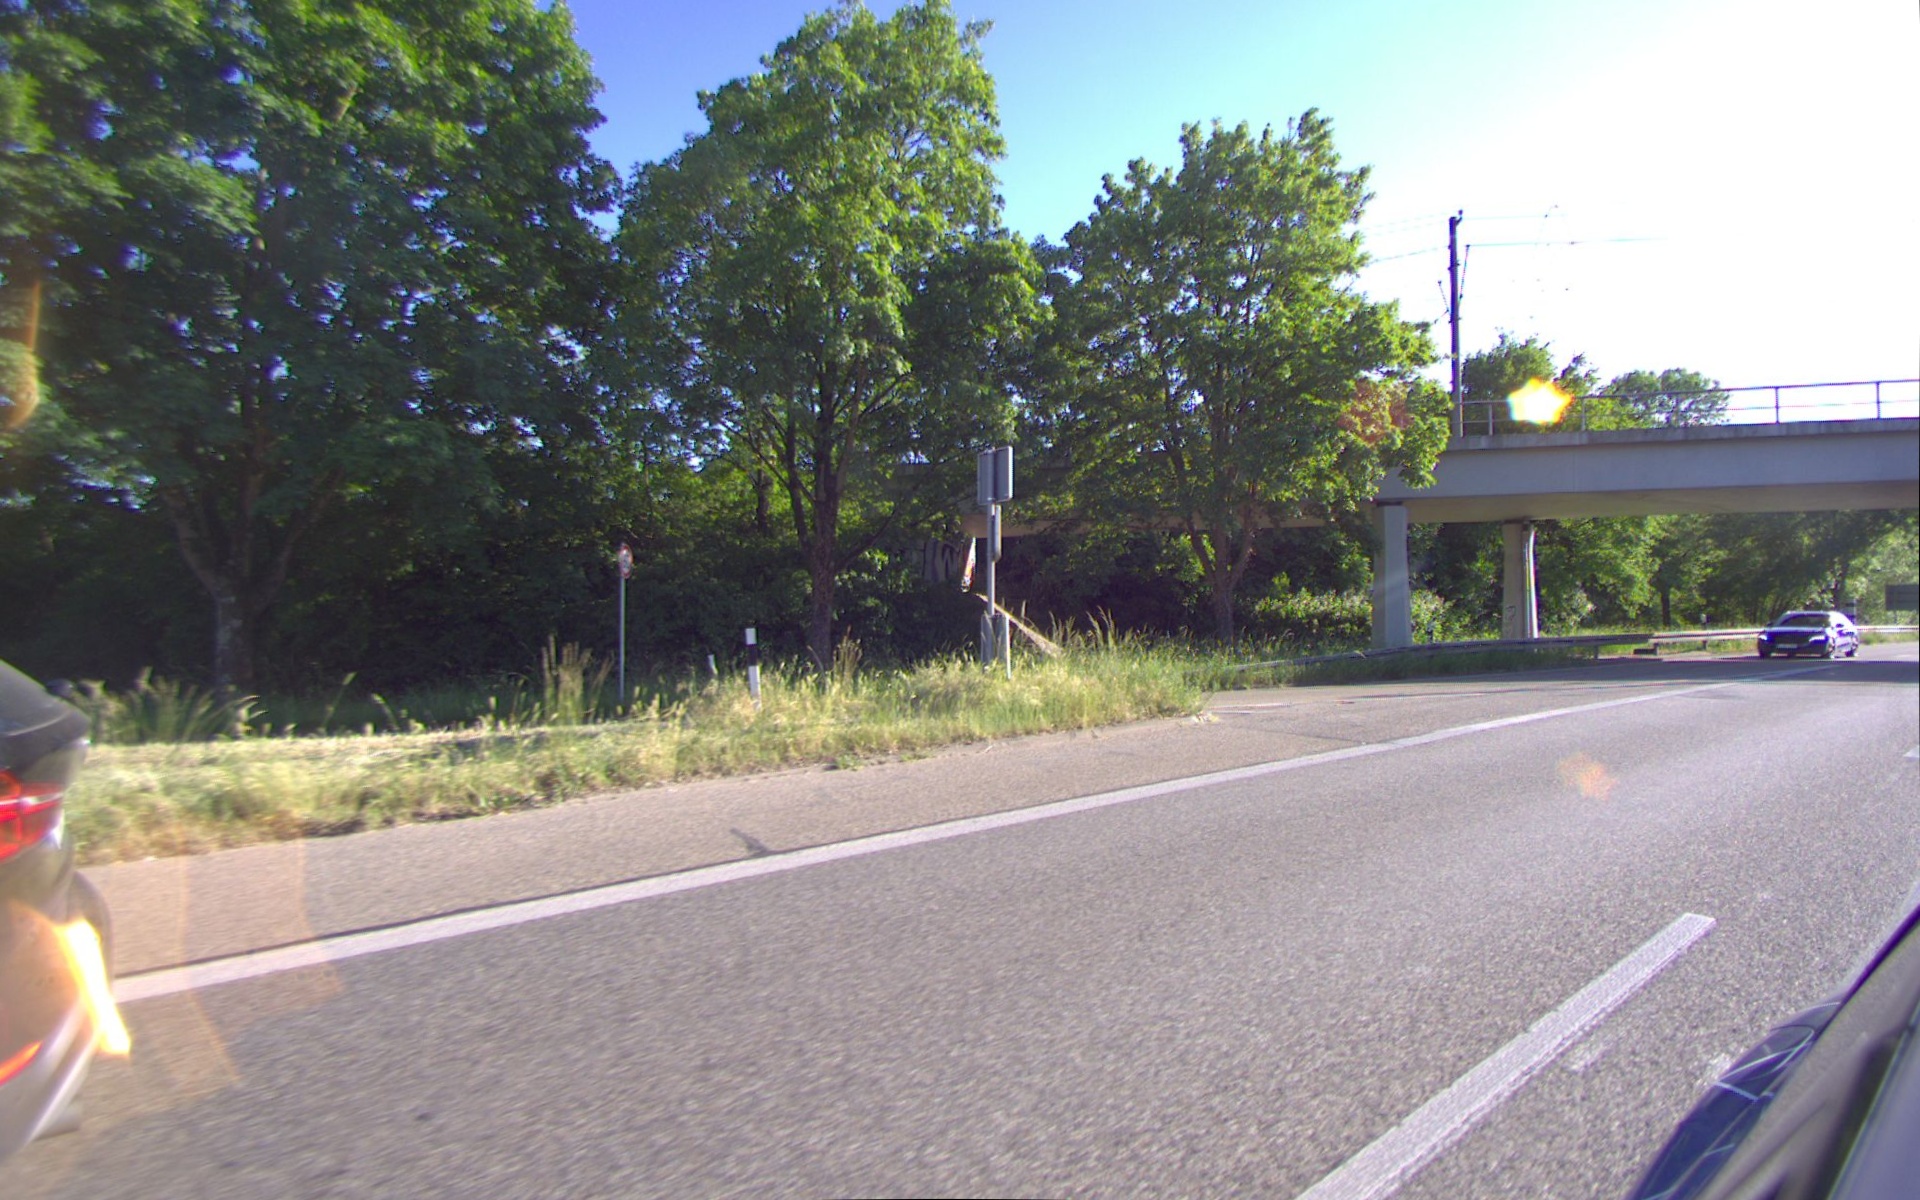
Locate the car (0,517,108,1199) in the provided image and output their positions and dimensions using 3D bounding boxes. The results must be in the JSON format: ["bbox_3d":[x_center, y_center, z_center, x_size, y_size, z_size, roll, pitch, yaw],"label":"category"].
[{"bbox_3d":[-3.873,0.599,1.102,4.443,1.592,1.758,1,1,-42],"label":"car"}]

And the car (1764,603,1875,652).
[{"bbox_3d":[26.908,0.823,31.665,3.979,1.427,1.764,1,-1,-36],"label":"car"}]
